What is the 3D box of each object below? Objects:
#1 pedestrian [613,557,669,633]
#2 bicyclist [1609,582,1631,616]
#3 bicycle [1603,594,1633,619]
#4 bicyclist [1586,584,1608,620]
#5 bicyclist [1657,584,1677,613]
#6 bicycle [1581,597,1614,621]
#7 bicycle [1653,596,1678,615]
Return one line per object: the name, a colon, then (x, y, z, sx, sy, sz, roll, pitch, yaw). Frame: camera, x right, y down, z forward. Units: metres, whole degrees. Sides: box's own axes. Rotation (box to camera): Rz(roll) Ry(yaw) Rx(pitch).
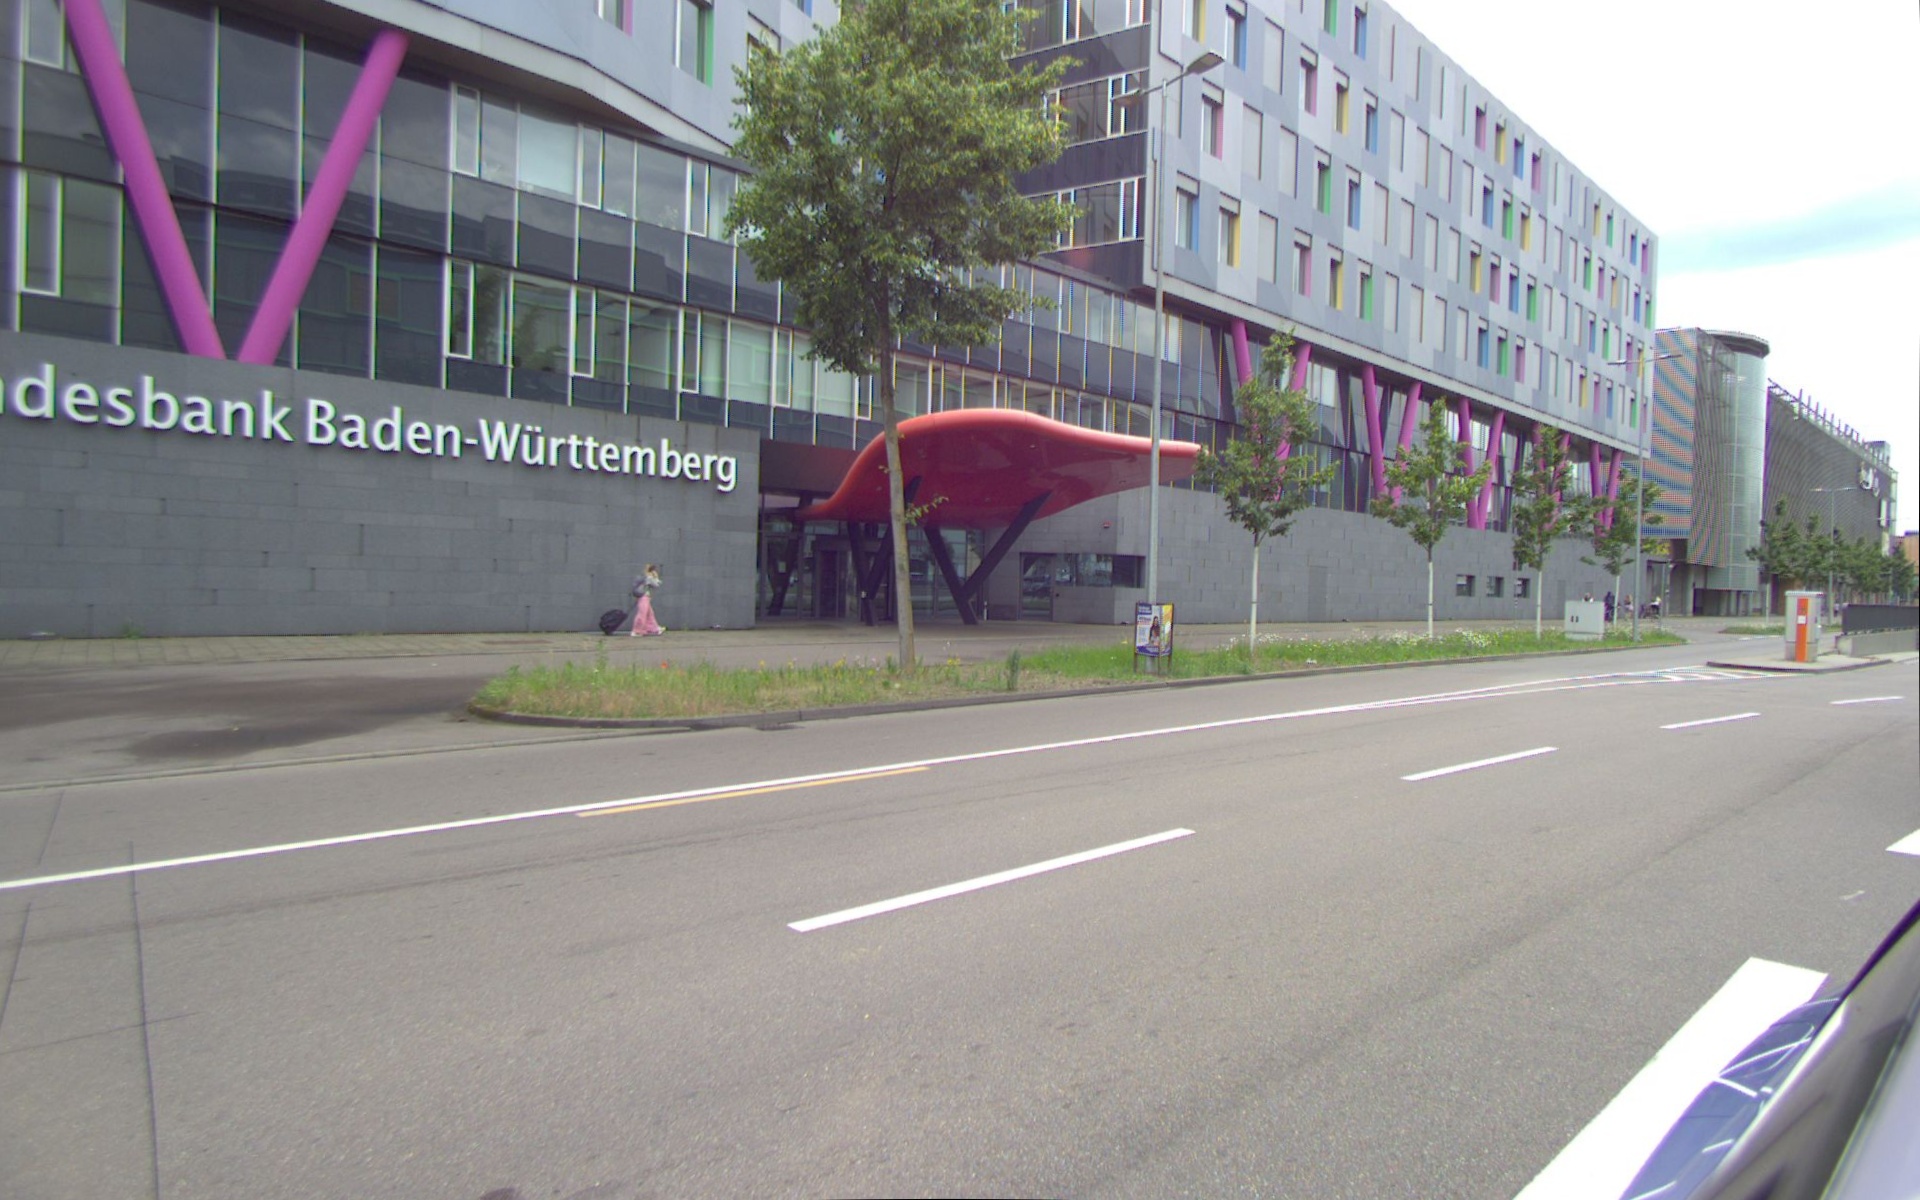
pedestrian: (-6.913, -0.117, 21.934, 0.898, 1.602, 0.786, 1, 1, -40)
bicyclist: (36.670, -0.062, 56.226, 0.692, 1.826, 0.783, 6, -3, -41)
bicycle: (36.395, 0.354, 55.991, 2.303, 1.173, 0.800, 6, -3, -42)
bicyclist: (32.234, 0.109, 51.205, 0.692, 1.825, 0.783, 2, -1, -41)
bicyclist: (45.197, -0.077, 64.716, 0.957, 1.809, 0.772, 1, 1, -40)
bicycle: (32.272, 0.464, 51.249, 2.304, 1.173, 0.800, 2, 0, -42)
bicycle: (45.026, 0.356, 64.592, 2.181, 1.209, 0.784, 1, 1, -41)
